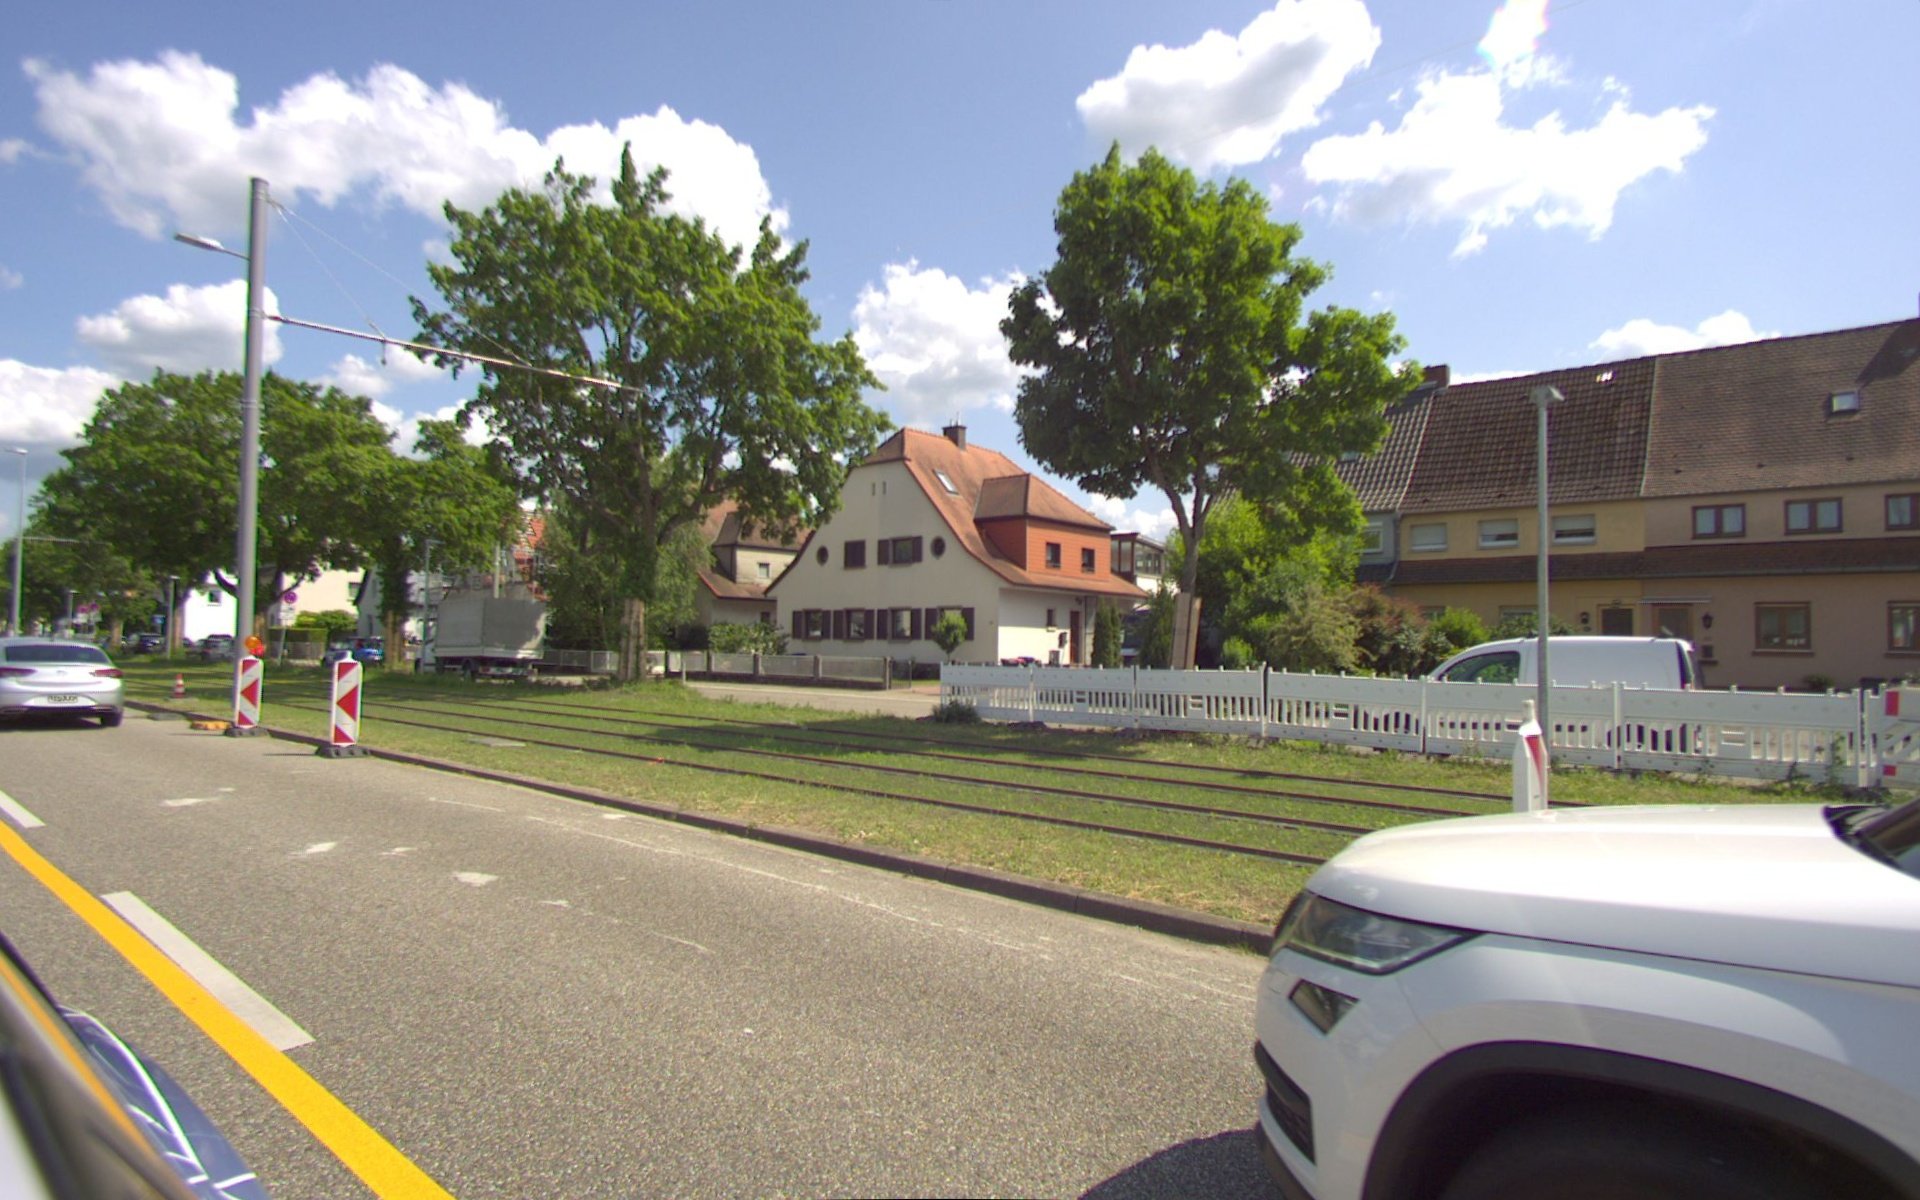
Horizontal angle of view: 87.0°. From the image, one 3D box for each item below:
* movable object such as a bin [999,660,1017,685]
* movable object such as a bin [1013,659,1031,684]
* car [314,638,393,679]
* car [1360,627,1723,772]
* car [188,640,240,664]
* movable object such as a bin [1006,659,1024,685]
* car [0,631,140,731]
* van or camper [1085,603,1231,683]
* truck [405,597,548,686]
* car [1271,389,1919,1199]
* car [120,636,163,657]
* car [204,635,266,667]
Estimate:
[{"bbox_3d":[1.708,2.569,35.890,0.458,0.874,0.469,-1,-1,39],"label":"movable object such as a bin"},{"bbox_3d":[2.258,2.576,36.643,0.458,0.874,0.469,-1,-1,39],"label":"movable object such as a bin"},{"bbox_3d":[-25.034,2.363,41.740,3.928,1.524,1.651,-1,-1,41],"label":"car"},{"bbox_3d":[7.686,1.224,13.593,3.998,1.638,1.636,-1,-4,41],"label":"car"},{"bbox_3d":[-42.263,2.912,57.295,3.785,1.251,1.604,-1,-1,41],"label":"car"},{"bbox_3d":[1.985,2.573,36.269,0.458,0.874,0.469,-1,-1,39],"label":"movable object such as a bin"},{"bbox_3d":[-15.276,1.289,16.725,4.480,1.456,1.802,-2,-5,40],"label":"car"},{"bbox_3d":[7.320,1.461,36.822,2.498,2.652,6.269,-1,-1,40],"label":"van or camper"},{"bbox_3d":[-16.856,1.357,35.124,5.948,2.826,2.340,-1,-1,41],"label":"truck"},{"bbox_3d":[2.829,0.605,1.050,4.459,1.679,1.805,-1,-4,41],"label":"car"},{"bbox_3d":[-54.760,3.093,67.694,3.998,1.311,1.615,-1,-1,41],"label":"car"},{"bbox_3d":[-38.268,2.642,53.386,4.522,1.524,1.685,-1,-1,41],"label":"car"}]
